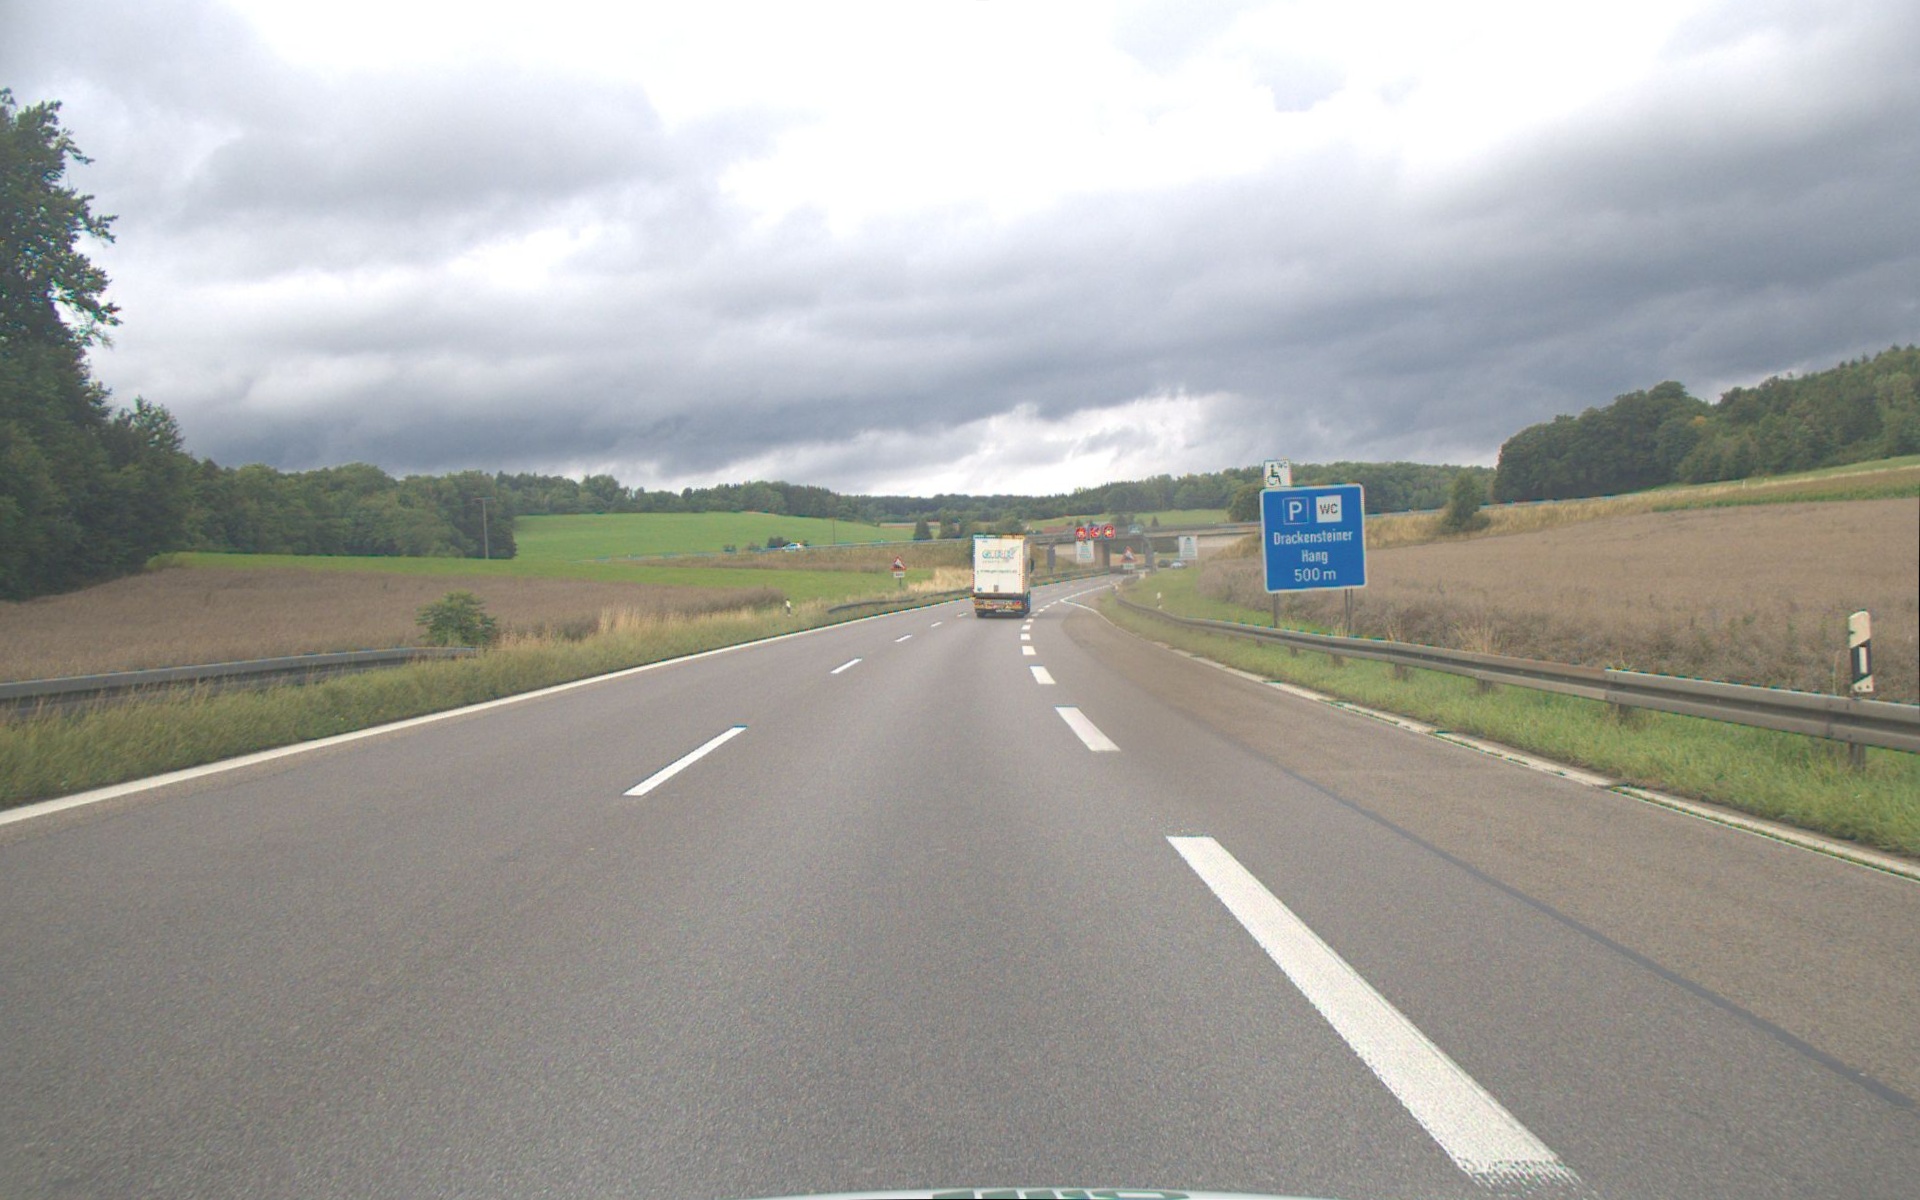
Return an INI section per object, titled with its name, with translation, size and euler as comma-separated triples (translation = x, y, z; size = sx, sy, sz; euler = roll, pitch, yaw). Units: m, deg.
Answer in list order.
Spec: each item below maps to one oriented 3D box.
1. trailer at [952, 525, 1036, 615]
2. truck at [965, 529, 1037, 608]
[trailer]
translation = 1.960, -1.512, 86.235
size = 3.726, 4.247, 14.815
euler = 0, 1, 4
[truck]
translation = 2.394, -1.710, 93.346
size = 3.708, 4.204, 8.268
euler = -1, 0, 3
